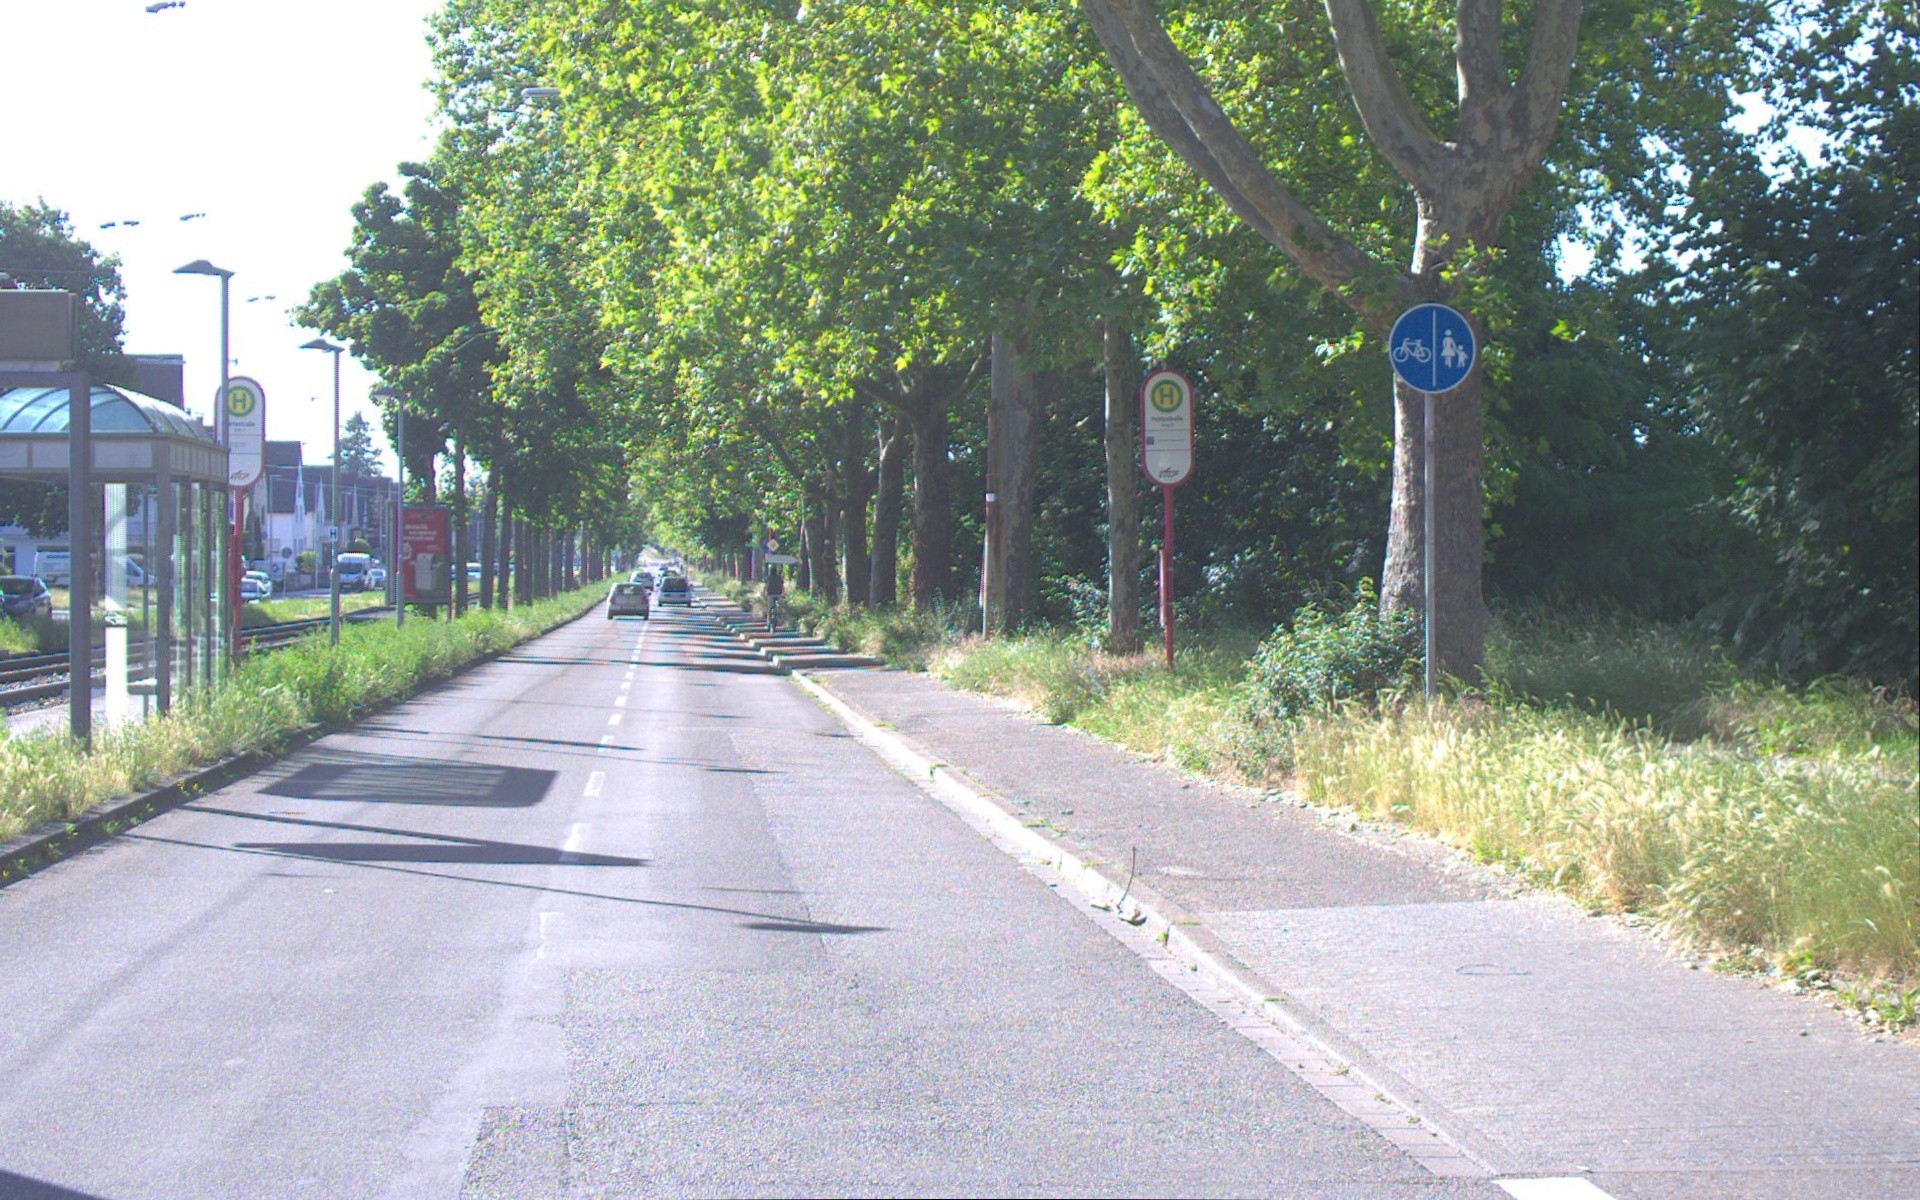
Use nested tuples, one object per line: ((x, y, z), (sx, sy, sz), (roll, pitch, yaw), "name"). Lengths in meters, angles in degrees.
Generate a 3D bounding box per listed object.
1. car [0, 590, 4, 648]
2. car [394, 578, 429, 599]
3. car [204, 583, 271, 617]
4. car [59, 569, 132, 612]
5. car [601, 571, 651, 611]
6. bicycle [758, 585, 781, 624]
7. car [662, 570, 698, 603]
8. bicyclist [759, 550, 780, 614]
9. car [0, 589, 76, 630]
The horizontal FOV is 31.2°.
((-25.093, 0.478, 84.946), (1.993, 1.464, 4.377), (1, 0, -4), "car")
((-34.285, -0.727, 214.893), (1.920, 1.262, 4.001), (0, 0, -5), "car")
((-27.314, -0.020, 130.053), (1.920, 1.262, 4.000), (0, 0, -3), "car")
((-32.321, -0.358, 128.644), (1.920, 1.571, 4.000), (0, 0, -3), "car")
((-12.932, -0.359, 133.255), (1.867, 1.481, 3.556), (1, 0, -5), "car")
((-5.279, 0.125, 95.344), (0.536, 1.062, 1.434), (0, 0, -7), "bicycle")
((-14.131, -0.675, 173.271), (1.750, 1.599, 3.750), (1, 0, -5), "car")
((-5.289, -0.503, 95.438), (0.534, 1.764, 0.713), (0, 0, -7), "bicyclist")
((-29.743, 0.289, 110.459), (1.920, 1.262, 4.001), (0, 0, -5), "car")
